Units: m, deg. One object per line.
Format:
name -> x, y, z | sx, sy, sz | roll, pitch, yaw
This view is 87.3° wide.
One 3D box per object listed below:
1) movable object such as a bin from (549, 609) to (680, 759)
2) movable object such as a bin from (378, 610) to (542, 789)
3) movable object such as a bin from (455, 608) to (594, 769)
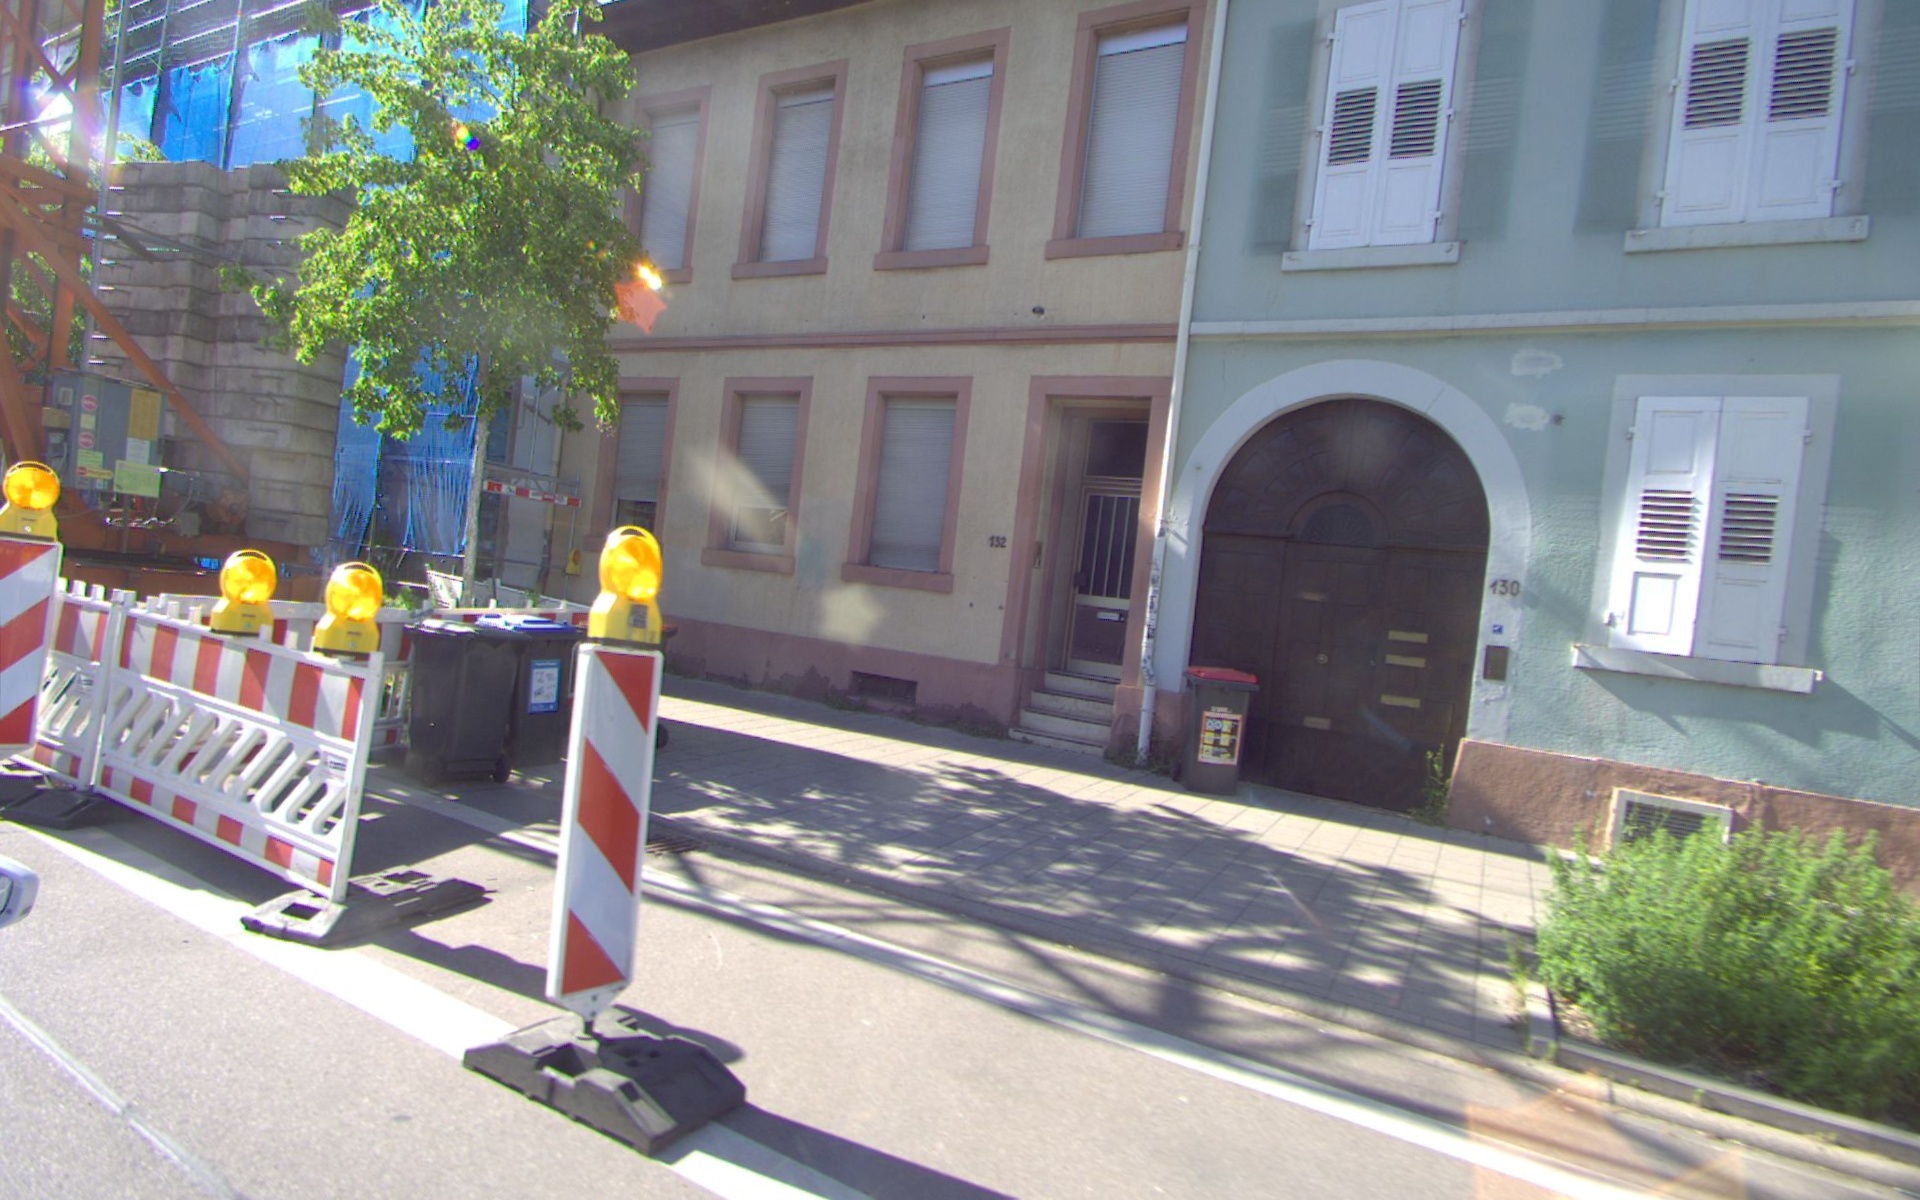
movable object such as a bin -> -2.822, 0.661, 8.228 | 0.769, 1.073, 0.588 | 7, 5, 25
movable object such as a bin -> -3.400, 0.665, 6.857 | 0.718, 1.070, 0.589 | 7, -1, 30
movable object such as a bin -> -3.261, 0.634, 7.545 | 0.718, 1.072, 0.595 | 7, 4, 30
